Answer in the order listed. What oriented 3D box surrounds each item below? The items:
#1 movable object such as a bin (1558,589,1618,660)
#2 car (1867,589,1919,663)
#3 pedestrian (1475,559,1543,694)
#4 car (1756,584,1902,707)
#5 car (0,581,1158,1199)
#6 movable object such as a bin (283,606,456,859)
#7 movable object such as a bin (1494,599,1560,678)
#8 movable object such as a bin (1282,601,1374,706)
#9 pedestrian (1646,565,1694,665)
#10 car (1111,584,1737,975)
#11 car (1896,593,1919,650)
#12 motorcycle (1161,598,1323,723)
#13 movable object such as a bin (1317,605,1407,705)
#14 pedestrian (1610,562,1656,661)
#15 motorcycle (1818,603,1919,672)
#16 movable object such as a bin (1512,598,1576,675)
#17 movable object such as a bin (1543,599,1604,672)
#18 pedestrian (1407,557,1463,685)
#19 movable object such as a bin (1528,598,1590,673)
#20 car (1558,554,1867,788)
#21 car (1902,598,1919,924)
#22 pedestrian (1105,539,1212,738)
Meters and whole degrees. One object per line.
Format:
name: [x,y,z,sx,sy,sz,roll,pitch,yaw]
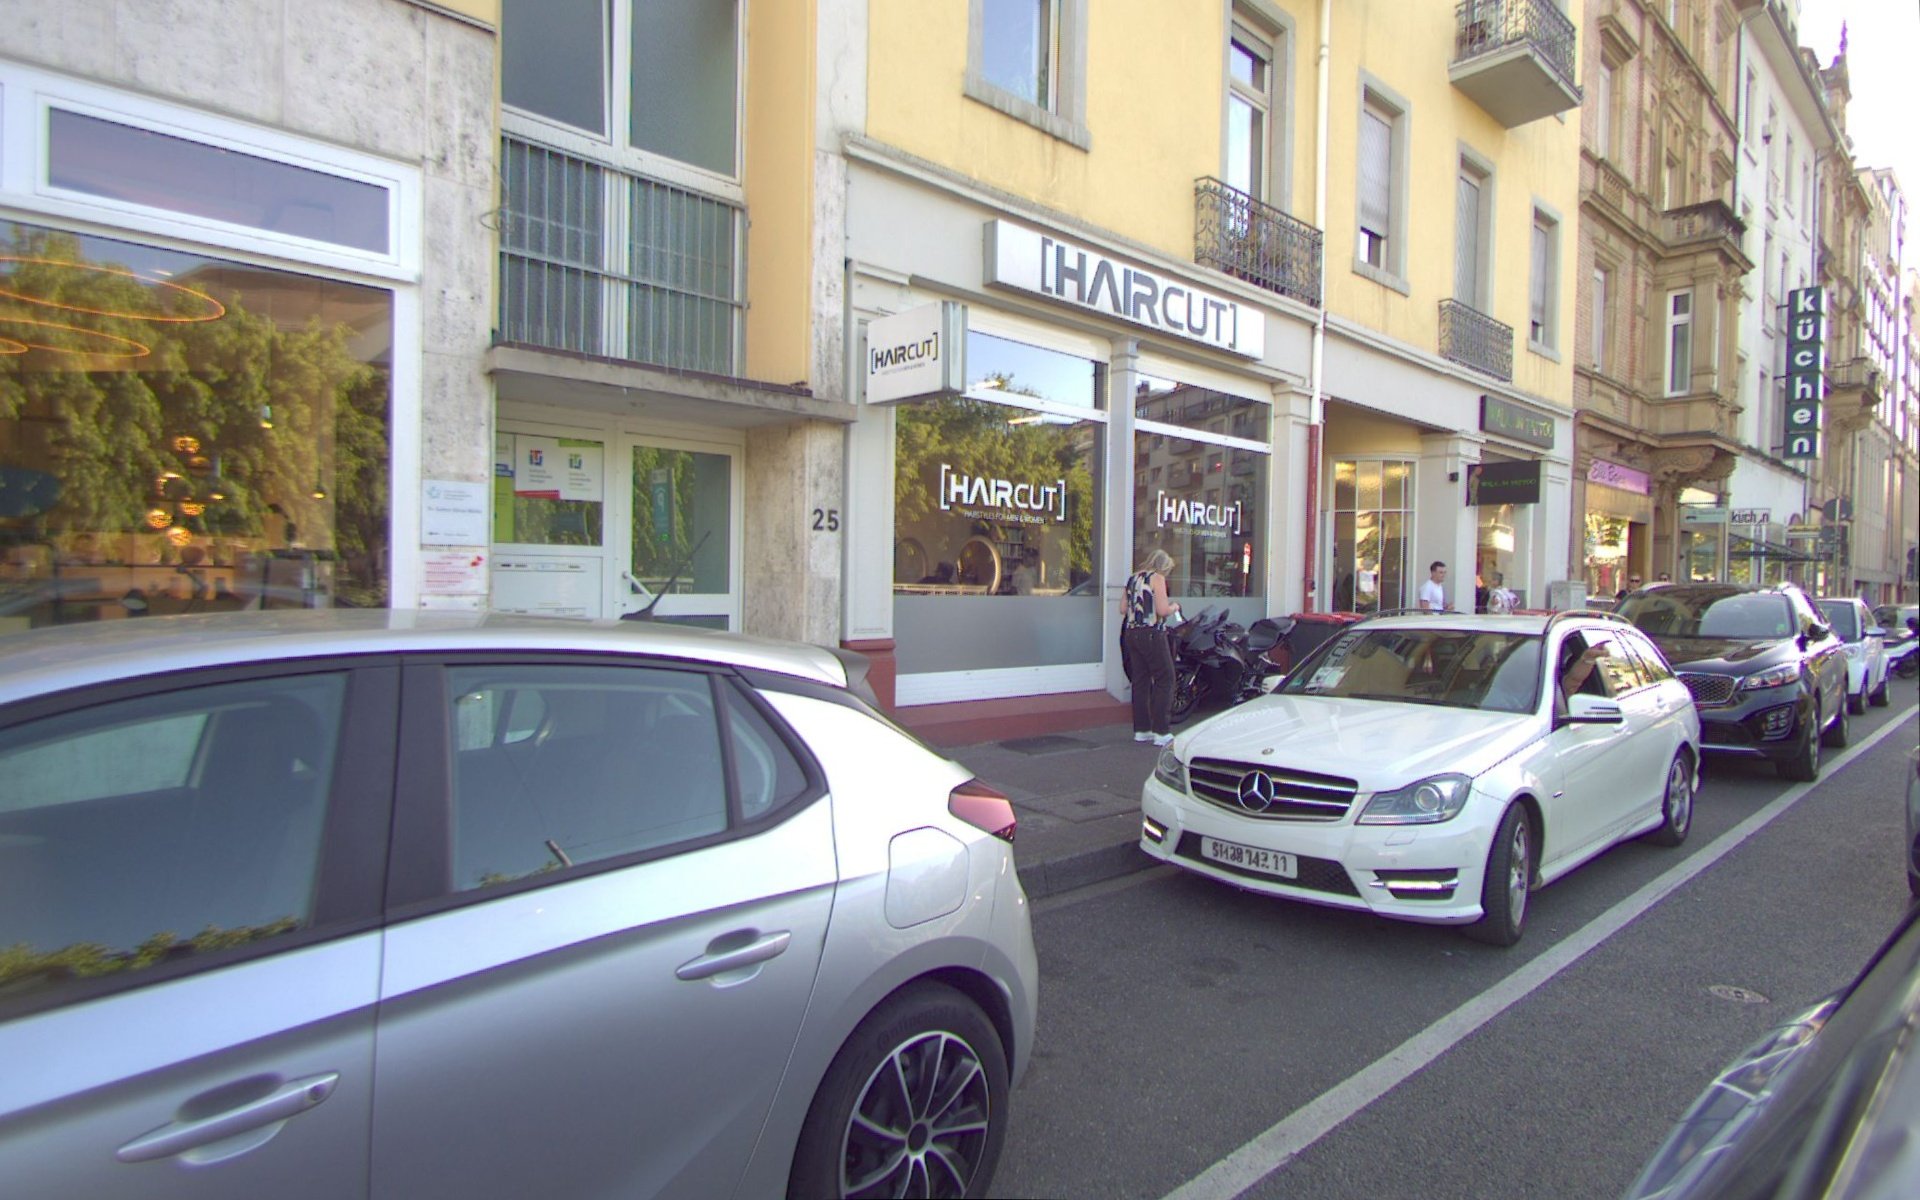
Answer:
movable object such as a bin: [10.157,0.385,16.372,0.608,1.079,0.606,0,4,-41]
car: [21.599,0.542,22.562,4.096,1.537,1.734,0,1,-44]
pedestrian: [7.048,0.328,13.005,0.580,1.681,0.452,1,2,-25]
car: [12.152,0.557,14.106,2.748,1.537,1.273,0,1,-44]
car: [-1.508,0.692,1.914,4.008,1.445,1.672,0,1,-43]
movable object such as a bin: [-2.926,0.599,5.002,0.608,1.080,0.704,0,4,-41]
movable object such as a bin: [8.252,0.542,14.741,0.608,1.079,0.606,0,4,-41]
movable object such as a bin: [3.992,0.558,10.980,0.608,1.054,0.661,1,3,-38]
pedestrian: [11.877,0.244,16.933,0.504,1.653,0.415,0,0,-13]
car: [2.970,0.657,5.934,4.387,1.465,1.741,0,1,-42]
car: [25.884,0.537,26.433,3.736,1.435,1.736,0,1,-41]
motorcycle: [2.834,0.547,10.033,1.975,1.105,0.551,0,2,-42]
movable object such as a bin: [4.501,0.594,11.344,0.608,1.037,0.669,1,3,-38]
pedestrian: [11.482,0.182,17.268,0.615,1.653,0.456,1,0,39]
motorcycle: [18.432,0.732,19.970,2.137,1.295,0.866,1,0,8]
movable object such as a bin: [8.741,0.536,15.147,0.608,1.079,0.606,0,4,-41]
movable object such as a bin: [9.670,0.538,15.947,0.608,1.079,0.606,0,4,-41]
pedestrian: [6.329,0.274,13.490,0.513,1.681,0.339,1,1,-17]
movable object such as a bin: [9.199,0.531,15.540,0.608,1.079,0.606,0,4,-41]
car: [7.444,0.508,9.814,4.498,1.758,1.756,0,1,-45]
car: [6.502,0.735,5.327,4.297,1.467,1.846,0,1,-41]
pedestrian: [1.724,0.302,8.831,0.523,1.653,0.697,0,2,-42]
